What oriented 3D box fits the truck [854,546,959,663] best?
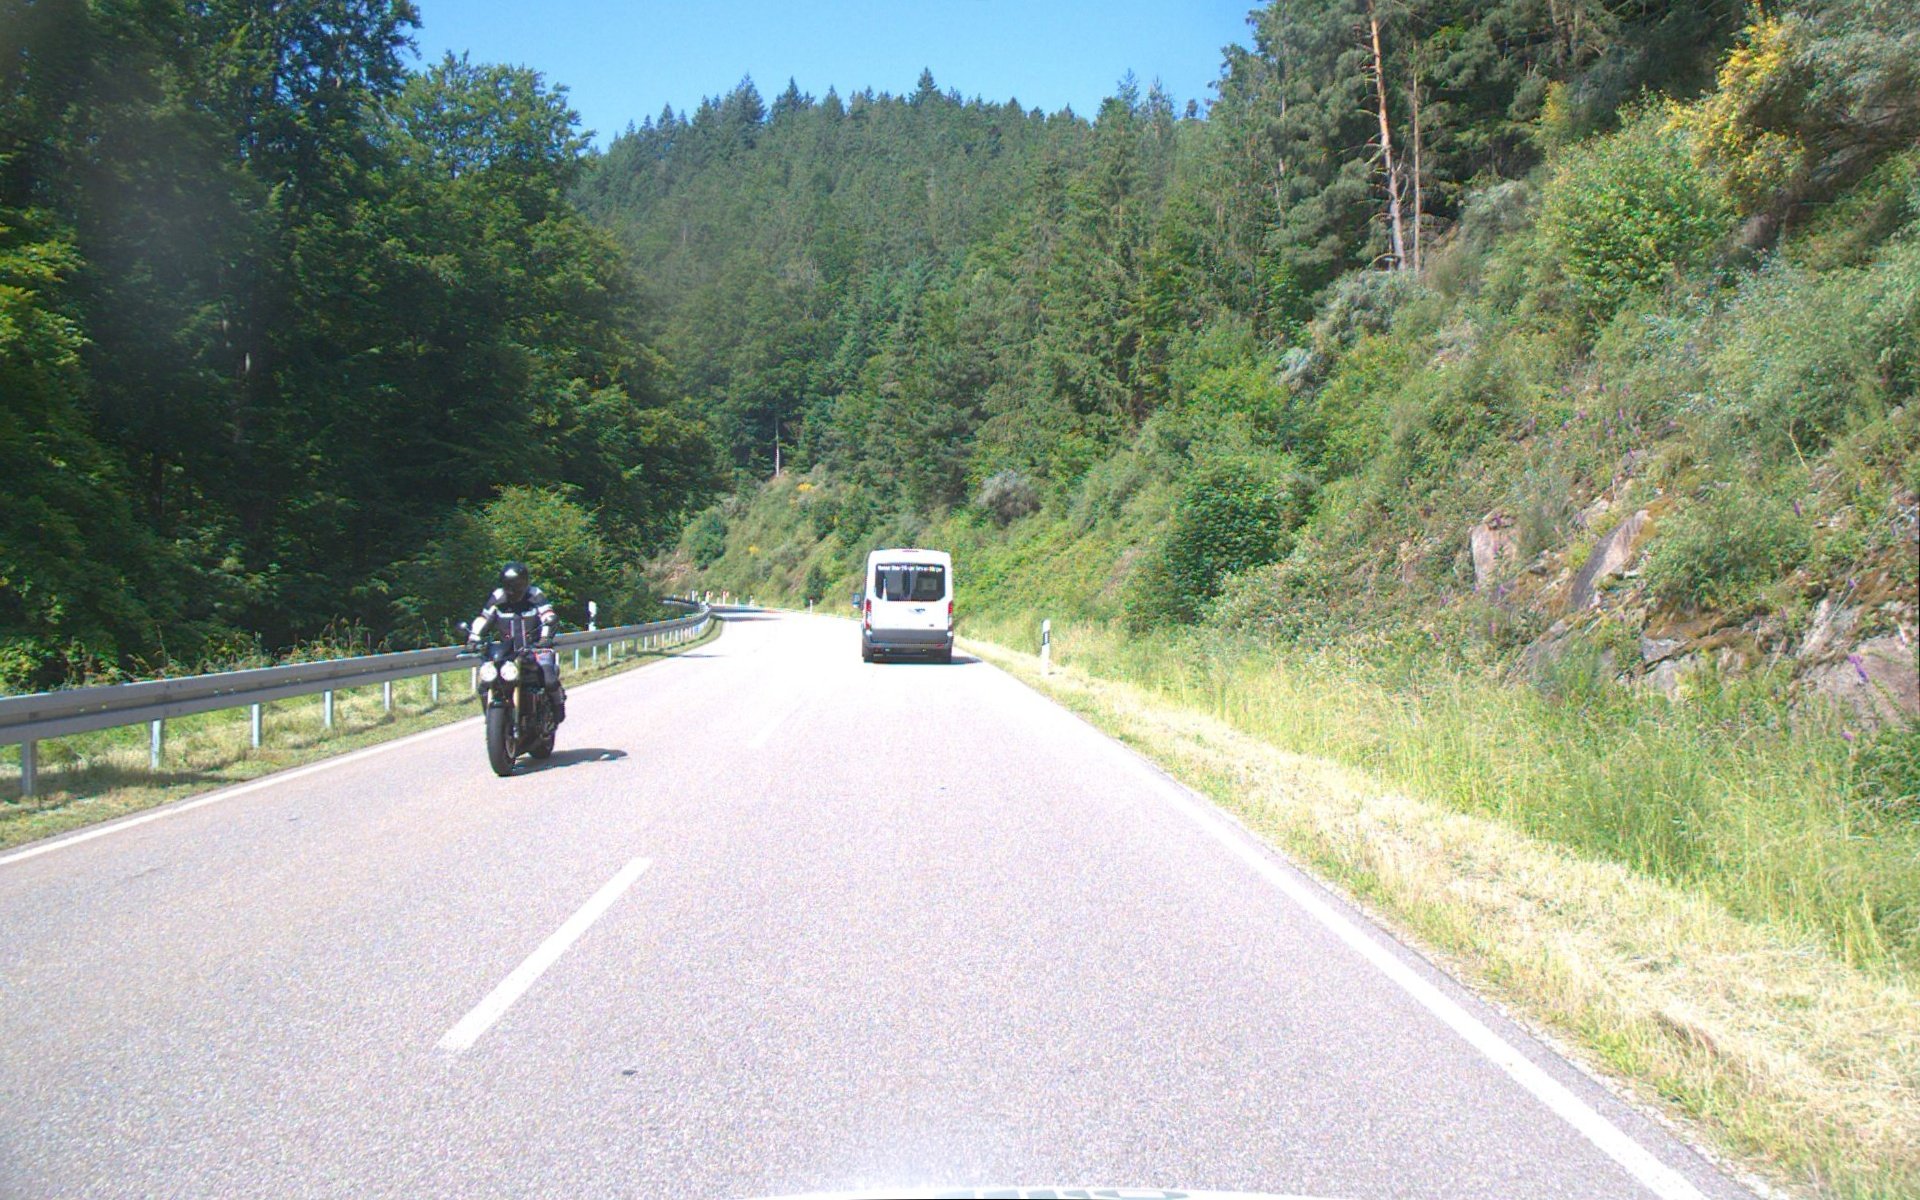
[{"bbox_3d":[-1.309,0.081,38.119,2.043,2.502,4.869,1,0,-6],"label":"truck"}]

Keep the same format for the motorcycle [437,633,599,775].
[{"bbox_3d":[-3.772,0.858,14.293,0.965,1.090,1.961,0,0,-3],"label":"motorcycle"}]

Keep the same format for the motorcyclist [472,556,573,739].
[{"bbox_3d":[-3.776,0.396,14.331,0.645,1.539,0.933,0,0,-3],"label":"motorcyclist"}]
